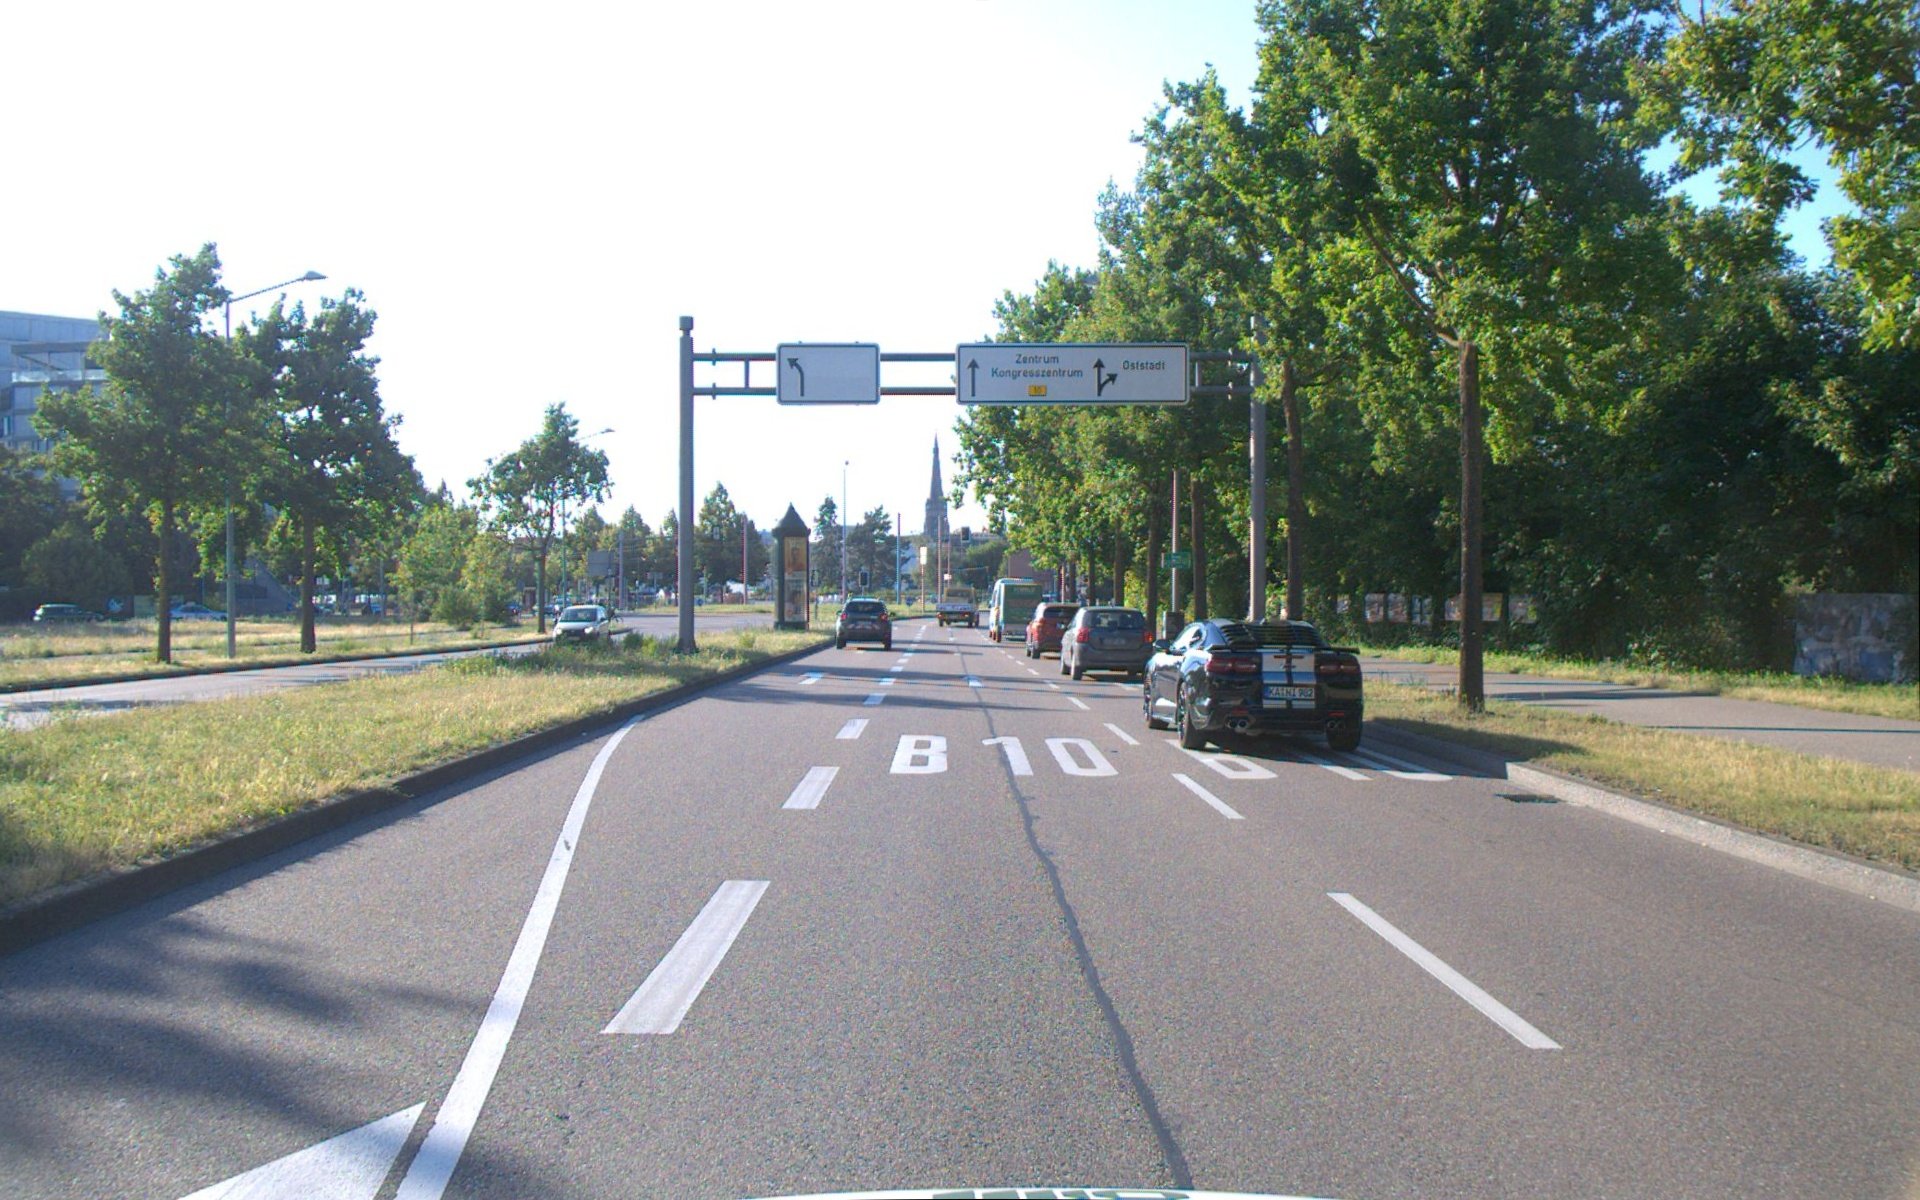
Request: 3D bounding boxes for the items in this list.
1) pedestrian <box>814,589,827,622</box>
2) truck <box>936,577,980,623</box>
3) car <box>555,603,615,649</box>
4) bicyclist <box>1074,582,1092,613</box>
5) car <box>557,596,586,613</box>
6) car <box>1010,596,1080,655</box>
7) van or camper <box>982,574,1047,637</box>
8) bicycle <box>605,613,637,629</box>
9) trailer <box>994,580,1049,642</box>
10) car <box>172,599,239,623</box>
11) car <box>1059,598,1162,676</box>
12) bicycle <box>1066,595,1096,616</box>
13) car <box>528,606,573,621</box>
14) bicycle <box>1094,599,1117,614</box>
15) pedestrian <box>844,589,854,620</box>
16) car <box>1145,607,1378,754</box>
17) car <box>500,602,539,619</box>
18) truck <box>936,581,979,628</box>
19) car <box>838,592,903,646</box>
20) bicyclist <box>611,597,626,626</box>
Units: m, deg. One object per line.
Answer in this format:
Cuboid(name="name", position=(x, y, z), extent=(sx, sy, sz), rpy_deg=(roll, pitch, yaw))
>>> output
Cuboid(name="pedestrian", position=(-8.678, 0.324, 102.602), extent=(0.774, 2.049, 0.700), rpy_deg=(0, 0, -7))
Cuboid(name="truck", position=(-0.063, -0.027, 98.937), extent=(2.527, 2.602, 6.252), rpy_deg=(-1, 0, 1))
Cuboid(name="car", position=(-13.433, 0.911, 59.415), extent=(1.531, 1.602, 3.410), rpy_deg=(0, 0, -3))
Cuboid(name="bicyclist", position=(7.864, -0.165, 105.982), extent=(0.920, 1.932, 0.599), rpy_deg=(-2, -1, 36))
Cuboid(name="car", position=(-35.463, 0.412, 150.987), extent=(1.865, 1.470, 4.137), rpy_deg=(-1, 0, -3))
Cuboid(name="car", position=(2.447, 0.723, 48.309), extent=(1.712, 1.649, 3.818), rpy_deg=(1, 0, -2))
Cuboid(name="van or camper", position=(2.391, 0.211, 74.384), extent=(2.239, 2.675, 6.578), rpy_deg=(1, 0, -4))
Cuboid(name="bicycle", position=(-21.542, 1.331, 105.066), extent=(1.868, 1.037, 0.505), rpy_deg=(1, 0, 6))
Cuboid(name="trailer", position=(2.510, 0.438, 68.290), extent=(2.047, 2.442, 3.500), rpy_deg=(1, 0, -1))
Cuboid(name="car", position=(-50.397, 0.693, 110.485), extent=(3.680, 1.534, 1.845), rpy_deg=(-1, 1, -44))
Cuboid(name="car", position=(3.079, 0.728, 34.497), extent=(1.712, 1.499, 3.819), rpy_deg=(-1, 0, -1))
Cuboid(name="bicycle", position=(7.769, 0.354, 106.058), extent=(1.872, 1.266, 0.607), rpy_deg=(-2, -1, 36))
Cuboid(name="car", position=(-41.190, 1.359, 166.558), extent=(4.047, 1.400, 1.674), rpy_deg=(-1, 1, 14))
Cuboid(name="bicycle", position=(9.452, 0.414, 107.465), extent=(1.439, 0.799, 0.437), rpy_deg=(-6, 3, -21))
Cuboid(name="pedestrian", position=(-6.829, 0.279, 101.778), extent=(0.475, 1.876, 0.720), rpy_deg=(-1, 0, 9))
Cuboid(name="car", position=(3.212, 0.801, 18.496), extent=(1.816, 1.361, 4.626), rpy_deg=(1, 0, 1))
Cuboid(name="car", position=(-41.294, 1.017, 155.031), extent=(1.633, 1.467, 3.615), rpy_deg=(-1, 1, 23))
Cuboid(name="truck", position=(-0.111, 0.229, 98.281), extent=(2.173, 2.697, 4.776), rpy_deg=(0, 0, 5))
Cuboid(name="car", position=(-2.913, 0.597, 54.674), extent=(1.866, 1.689, 4.000), rpy_deg=(0, 0, 1))
Cuboid(name="bicyclist", position=(-21.697, 0.752, 105.066), extent=(0.795, 1.820, 0.497), rpy_deg=(1, 0, 7))
